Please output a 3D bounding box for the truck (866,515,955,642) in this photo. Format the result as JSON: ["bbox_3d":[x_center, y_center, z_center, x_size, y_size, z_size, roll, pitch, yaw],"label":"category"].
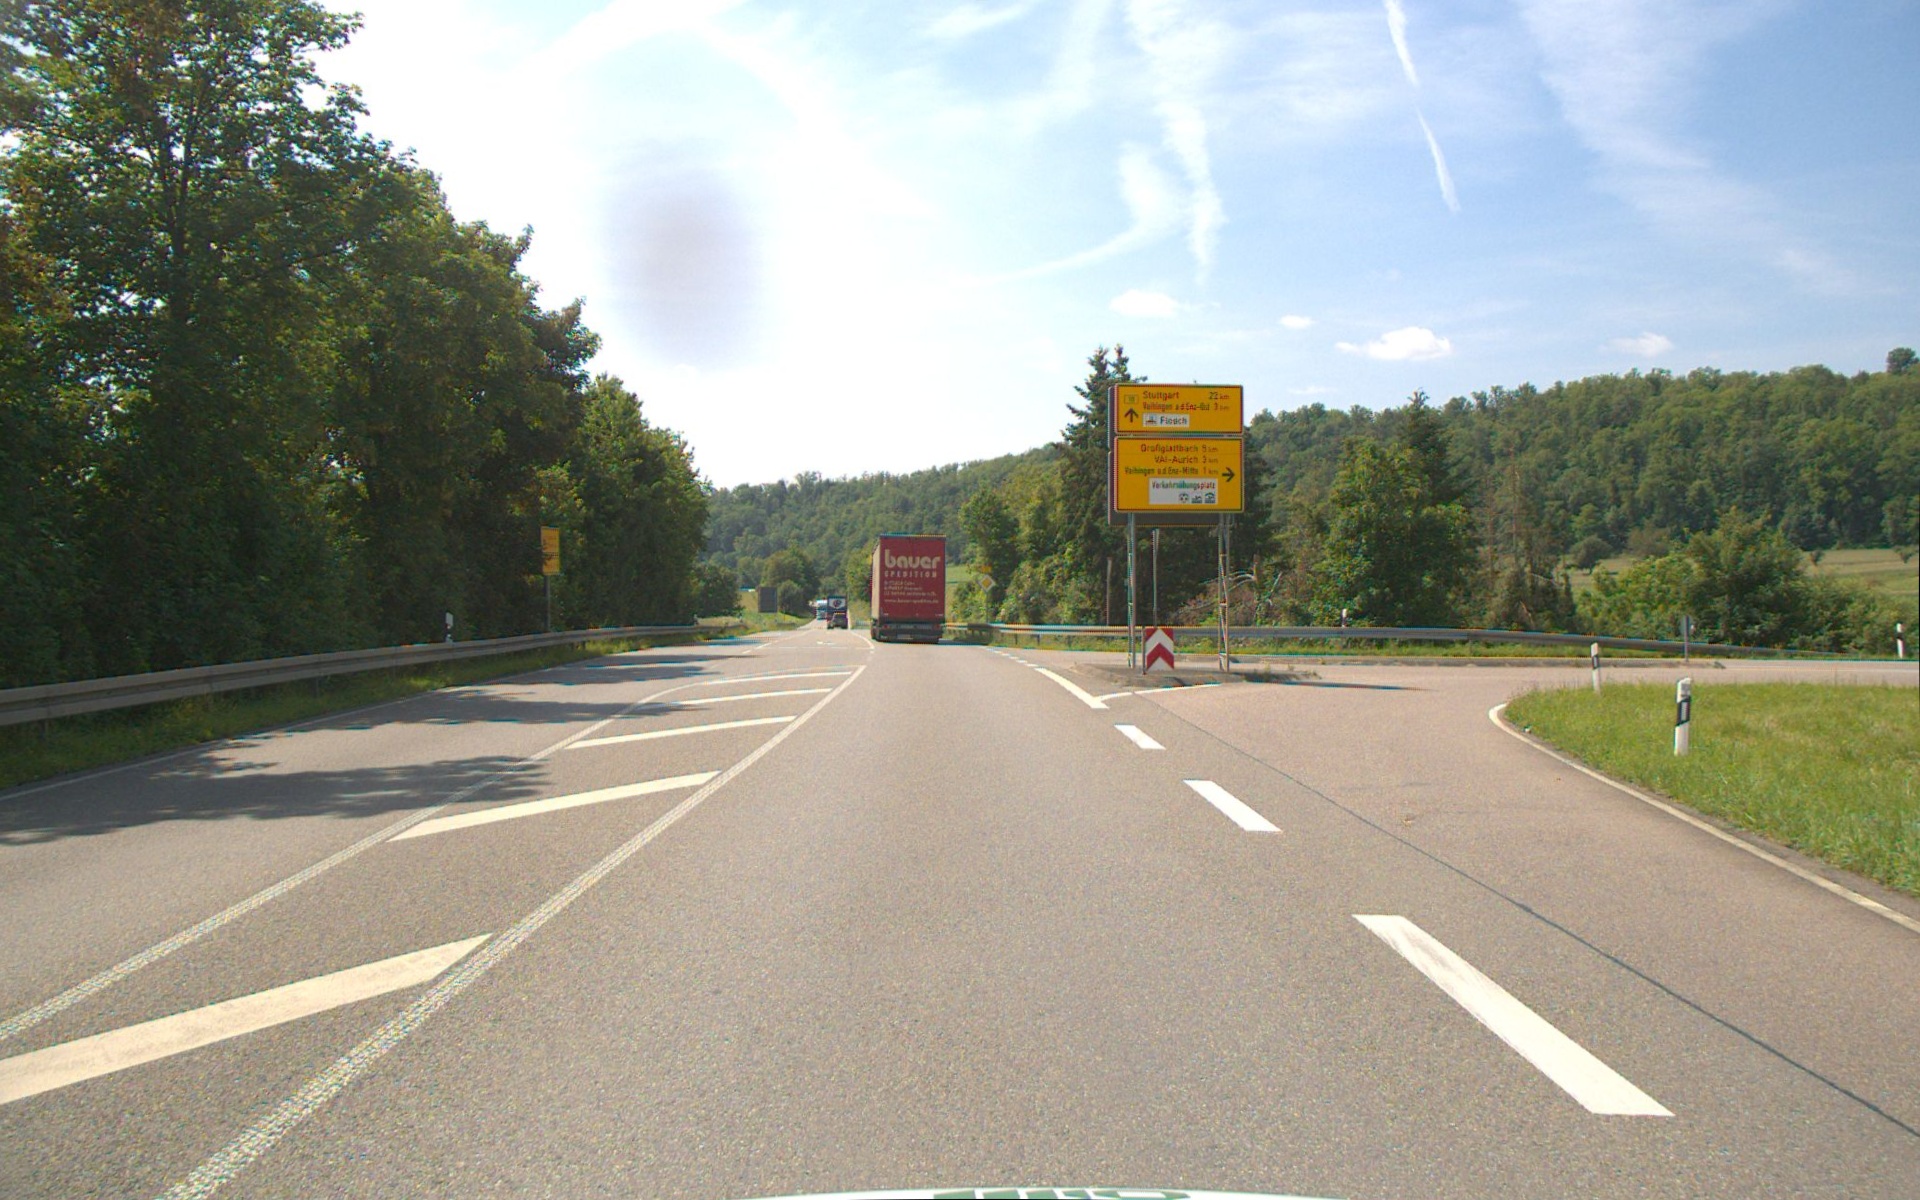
[{"bbox_3d":[-2.228,-0.743,68.066,3.110,4.706,13.531,0,0,-4],"label":"truck"}]

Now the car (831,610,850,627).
[{"bbox_3d":[-13.270,2.054,183.115,1.955,1.842,3.995,3,-1,-6],"label":"car"}]

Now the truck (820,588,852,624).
[{"bbox_3d":[-16.186,0.845,214.400,3.829,4.446,13.277,2,-1,-5],"label":"truck"}]
